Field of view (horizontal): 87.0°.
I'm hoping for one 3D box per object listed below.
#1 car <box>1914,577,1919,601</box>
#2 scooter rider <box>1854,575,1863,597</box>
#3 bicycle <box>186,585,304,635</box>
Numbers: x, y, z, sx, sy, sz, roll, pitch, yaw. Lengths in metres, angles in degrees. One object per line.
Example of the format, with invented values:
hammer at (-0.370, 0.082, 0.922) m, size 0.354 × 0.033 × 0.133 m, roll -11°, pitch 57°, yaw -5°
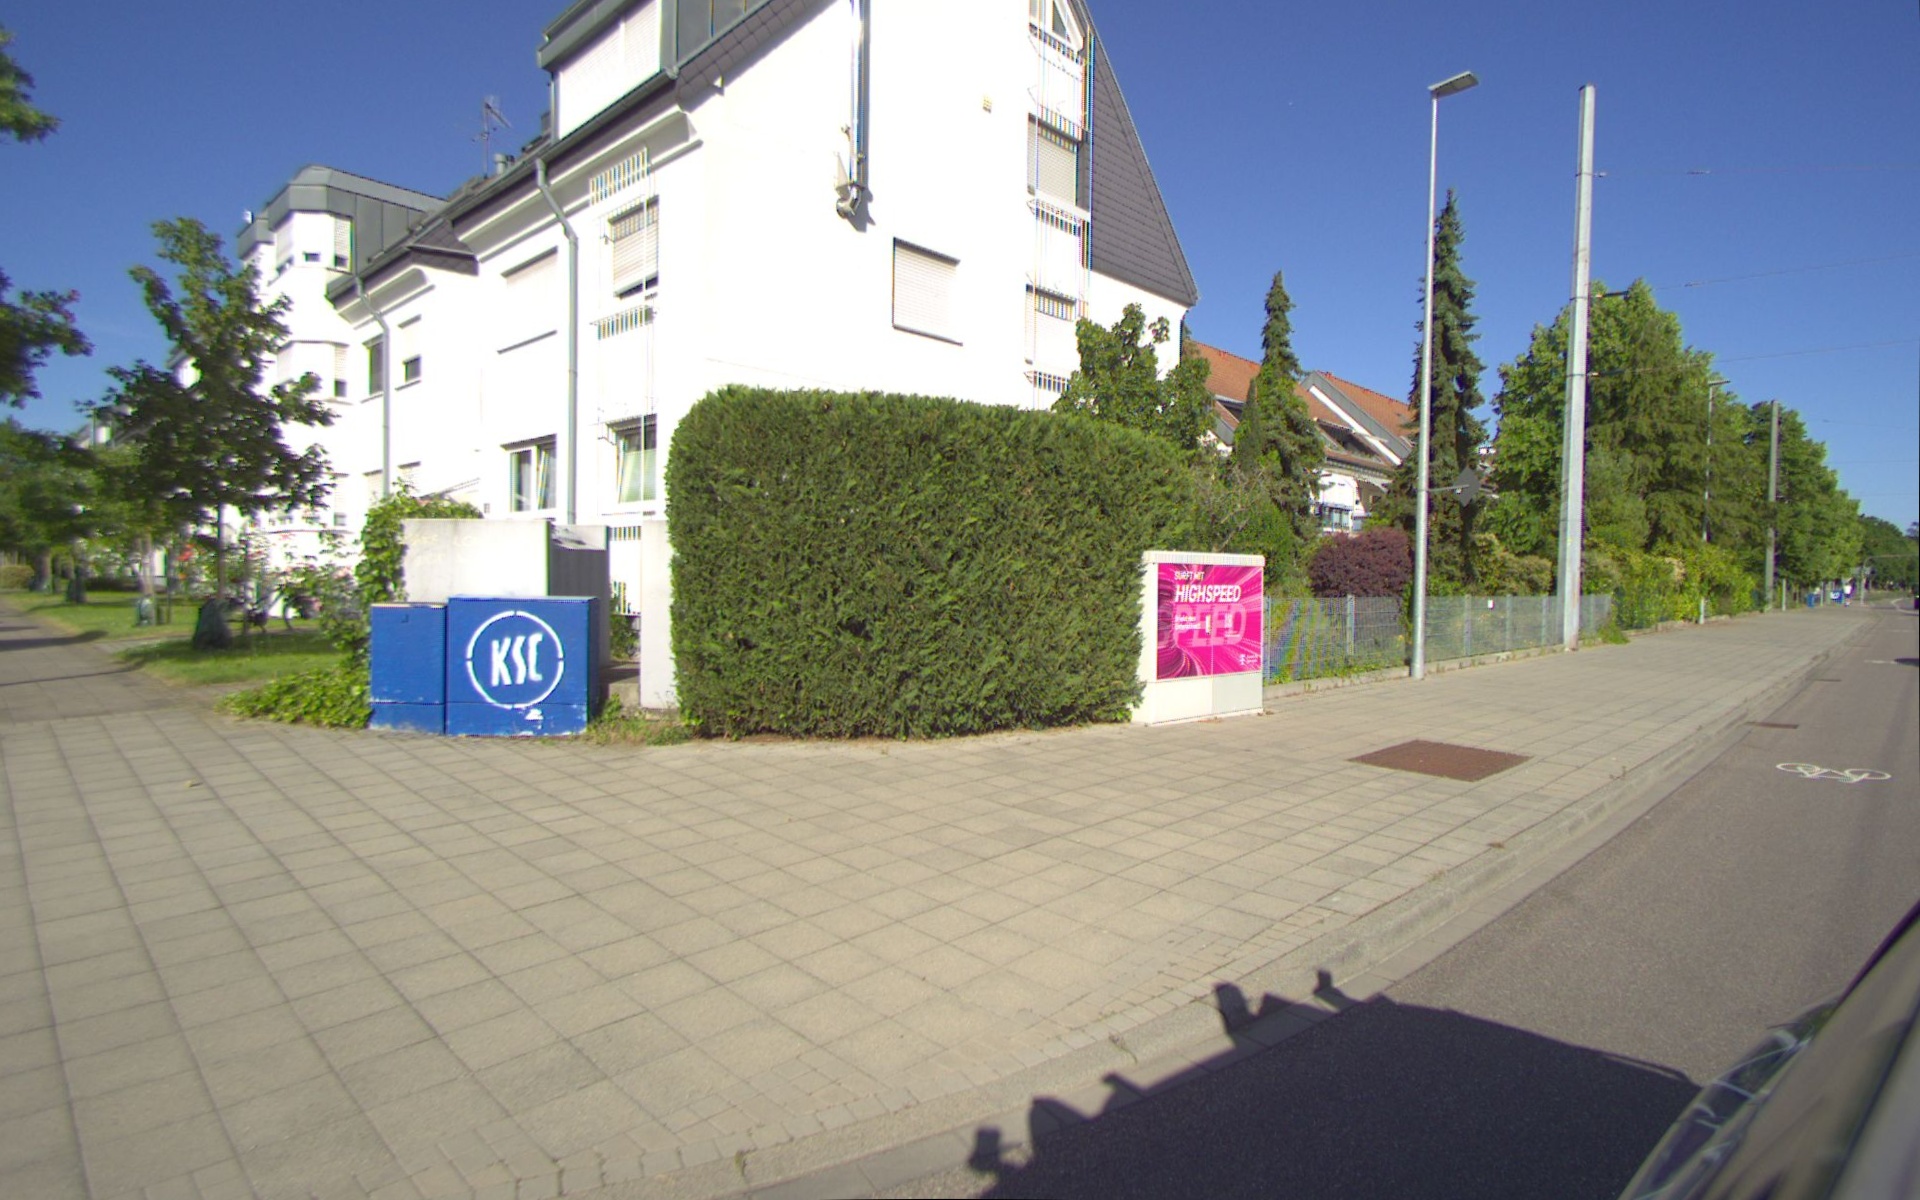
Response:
car at (77.583, -0.906, 80.740) m, size 1.994 × 1.857 × 3.936 m, roll 0°, pitch 1°, yaw 45°
scooter rider at (73.652, -1.134, 82.993) m, size 0.550 × 1.789 × 0.590 m, roll 0°, pitch 0°, yaw 43°
bicycle at (-10.560, 0.136, 14.986) m, size 0.306 × 0.686 × 1.404 m, roll -1°, pitch 1°, yaw 35°
